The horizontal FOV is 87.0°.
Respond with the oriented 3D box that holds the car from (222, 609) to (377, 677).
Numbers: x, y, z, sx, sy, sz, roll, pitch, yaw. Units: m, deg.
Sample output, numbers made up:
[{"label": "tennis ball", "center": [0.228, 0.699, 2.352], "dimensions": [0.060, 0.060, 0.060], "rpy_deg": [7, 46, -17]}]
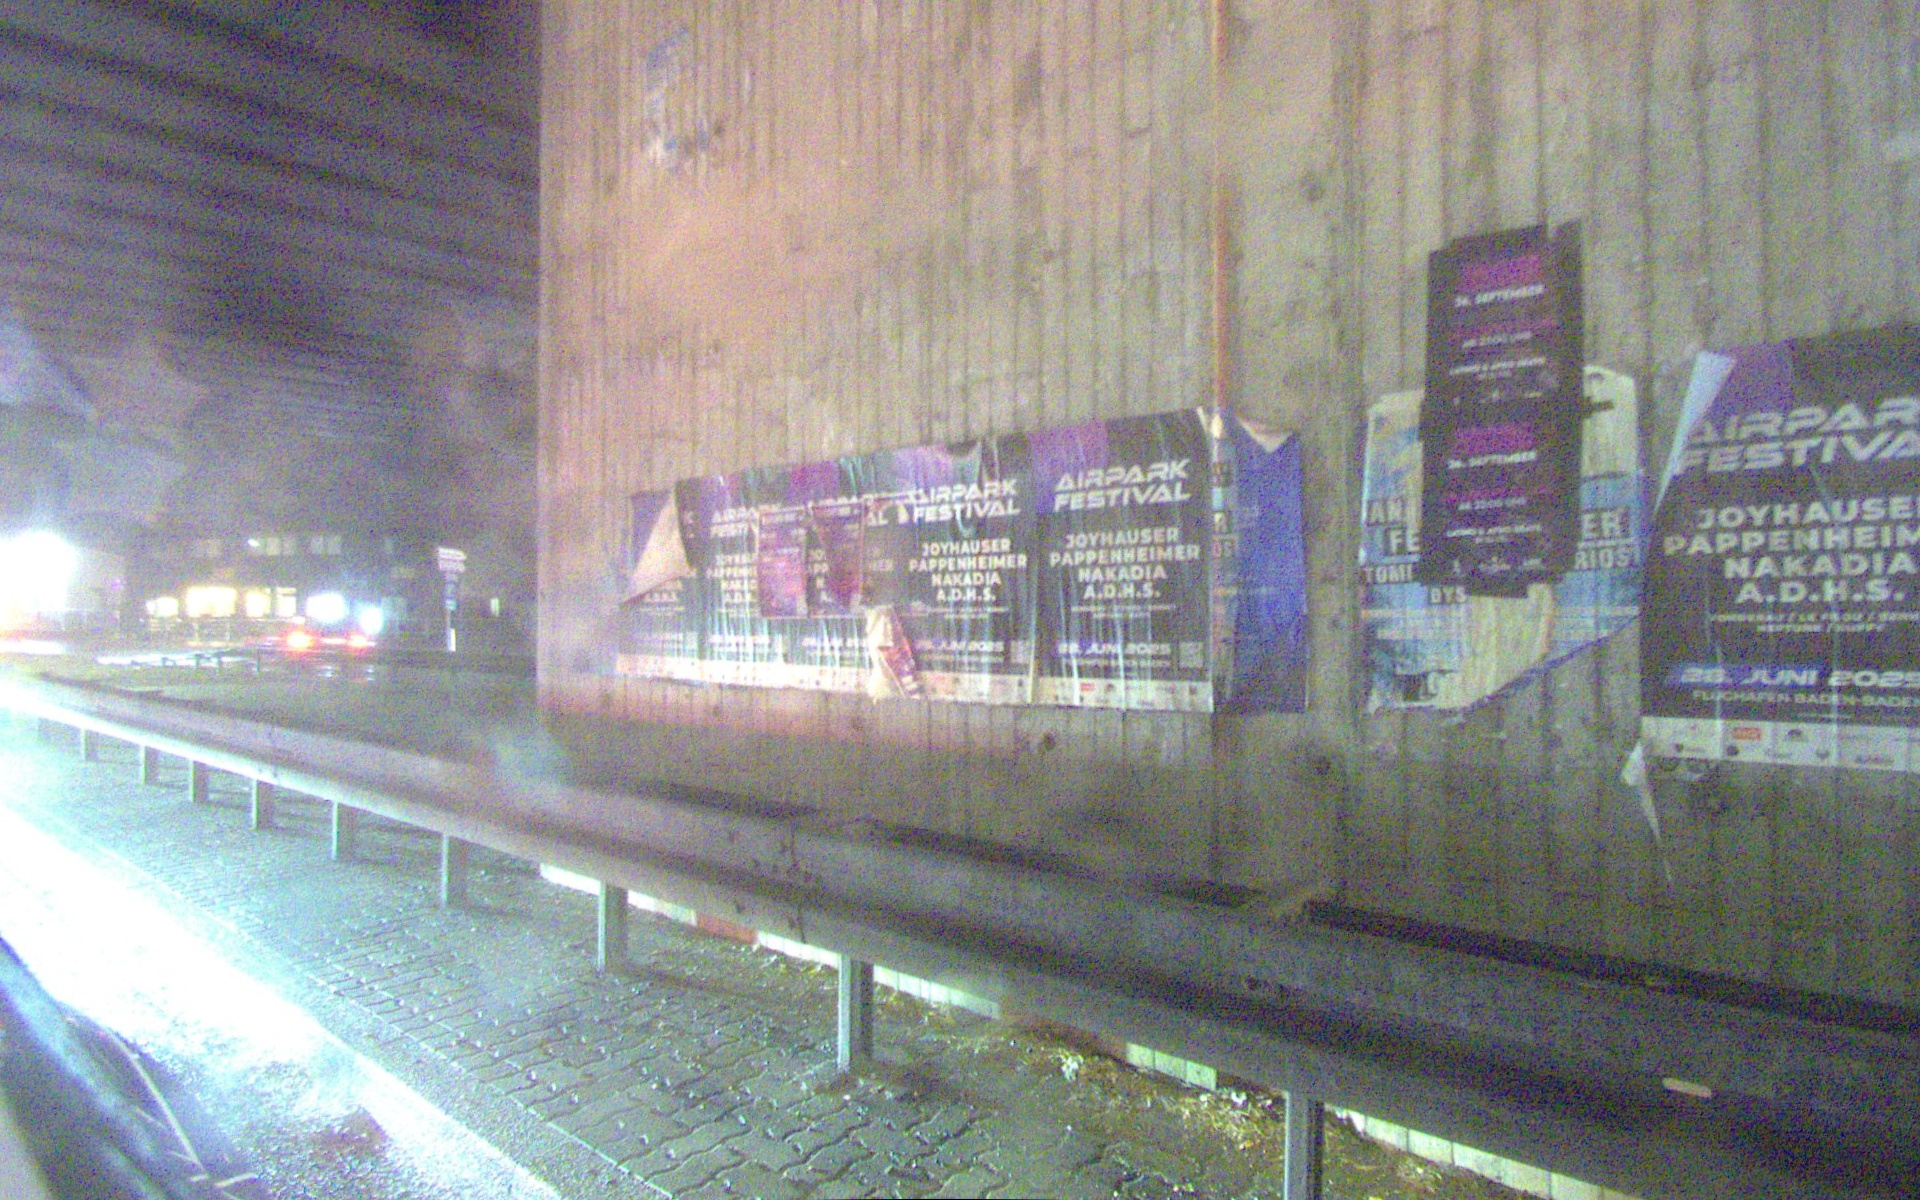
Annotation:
[{"label": "car", "center": [-16.971, 1.131, 25.962], "dimensions": [4.071, 1.600, 1.889], "rpy_deg": [-2, -4, 35]}]
